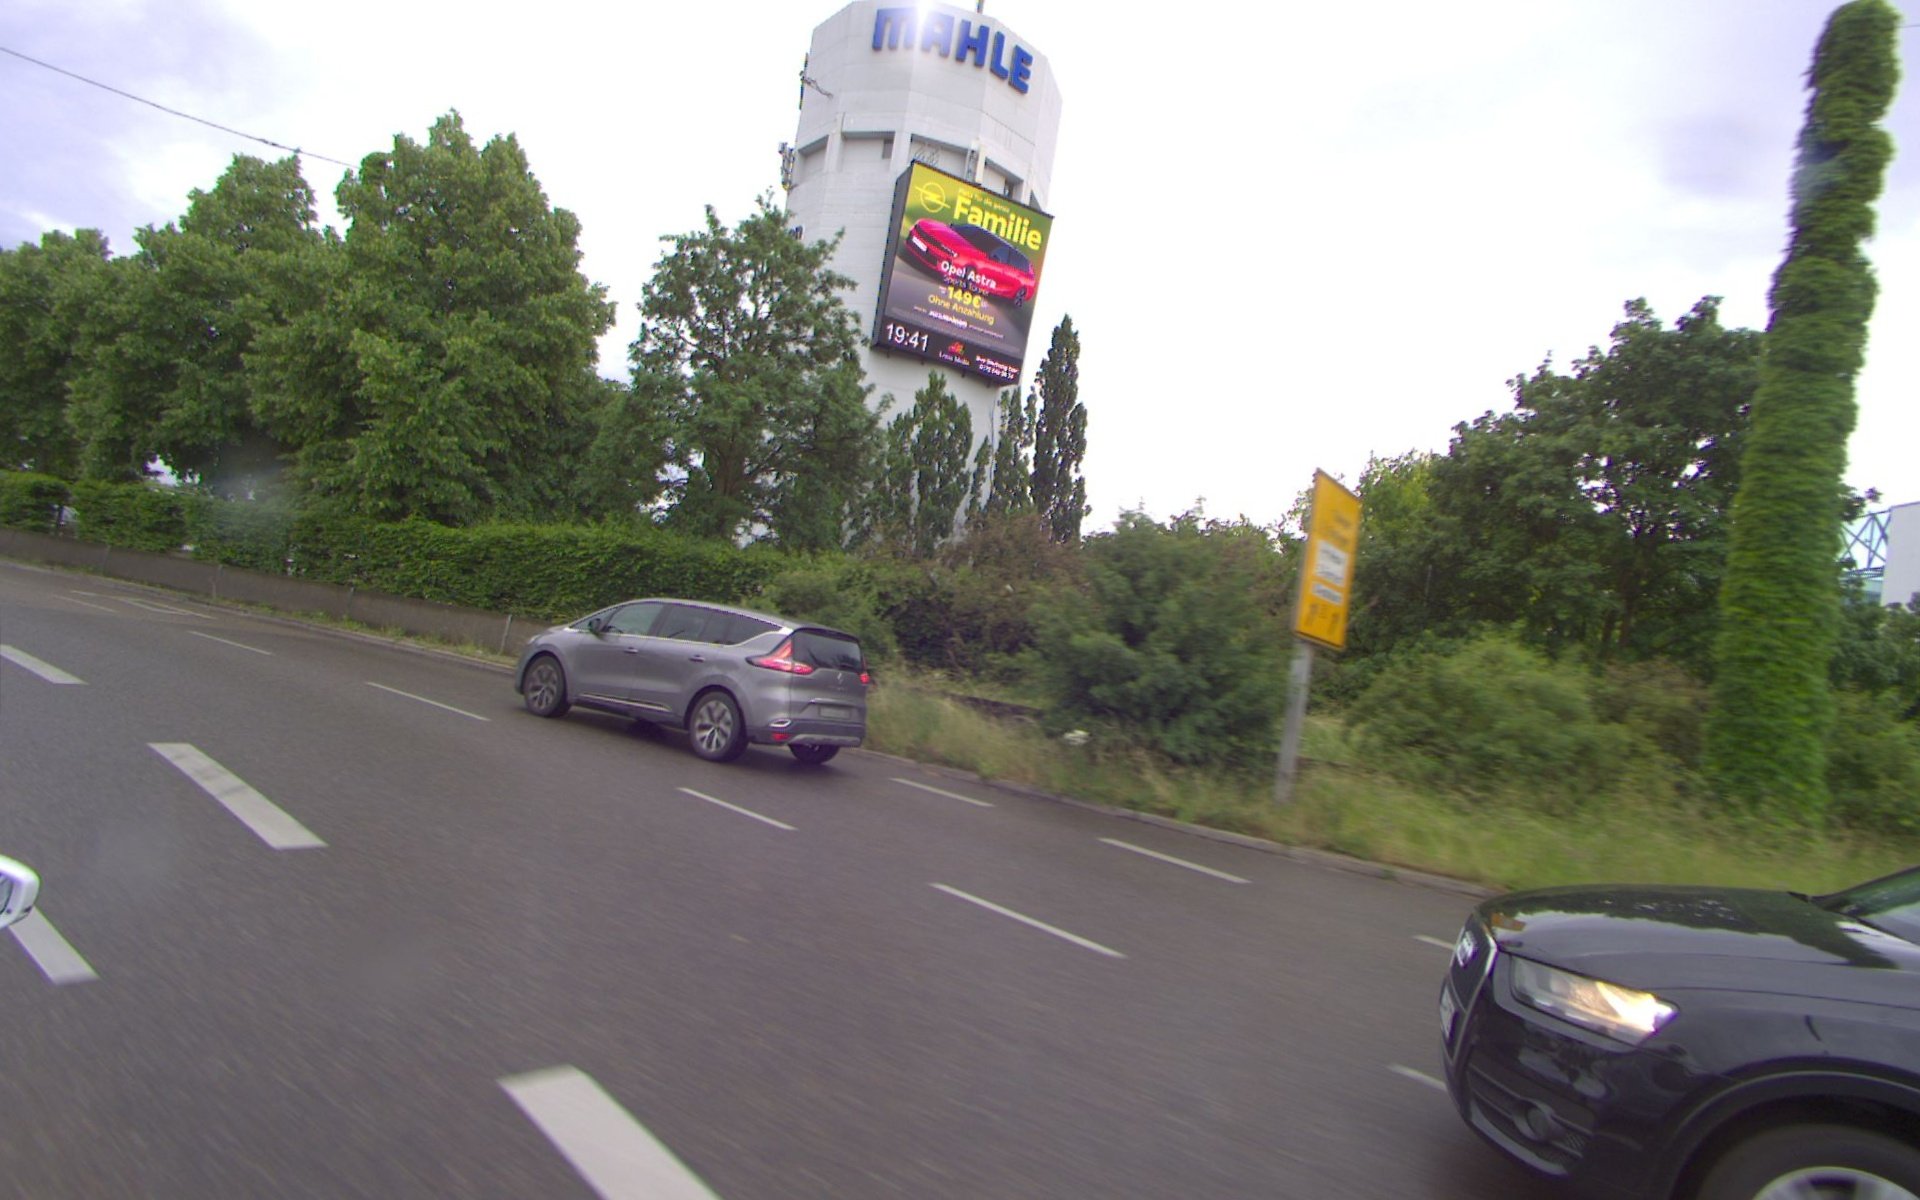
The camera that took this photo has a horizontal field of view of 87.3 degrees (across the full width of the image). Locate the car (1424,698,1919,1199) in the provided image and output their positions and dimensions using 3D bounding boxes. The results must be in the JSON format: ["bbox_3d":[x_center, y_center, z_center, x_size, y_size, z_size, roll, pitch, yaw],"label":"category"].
[{"bbox_3d":[3.627,1.364,2.753,4.051,1.551,1.732,7,-2,23],"label":"car"}]

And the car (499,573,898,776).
[{"bbox_3d":[-3.182,0.829,11.921,4.549,1.665,1.731,6,-5,32],"label":"car"}]
